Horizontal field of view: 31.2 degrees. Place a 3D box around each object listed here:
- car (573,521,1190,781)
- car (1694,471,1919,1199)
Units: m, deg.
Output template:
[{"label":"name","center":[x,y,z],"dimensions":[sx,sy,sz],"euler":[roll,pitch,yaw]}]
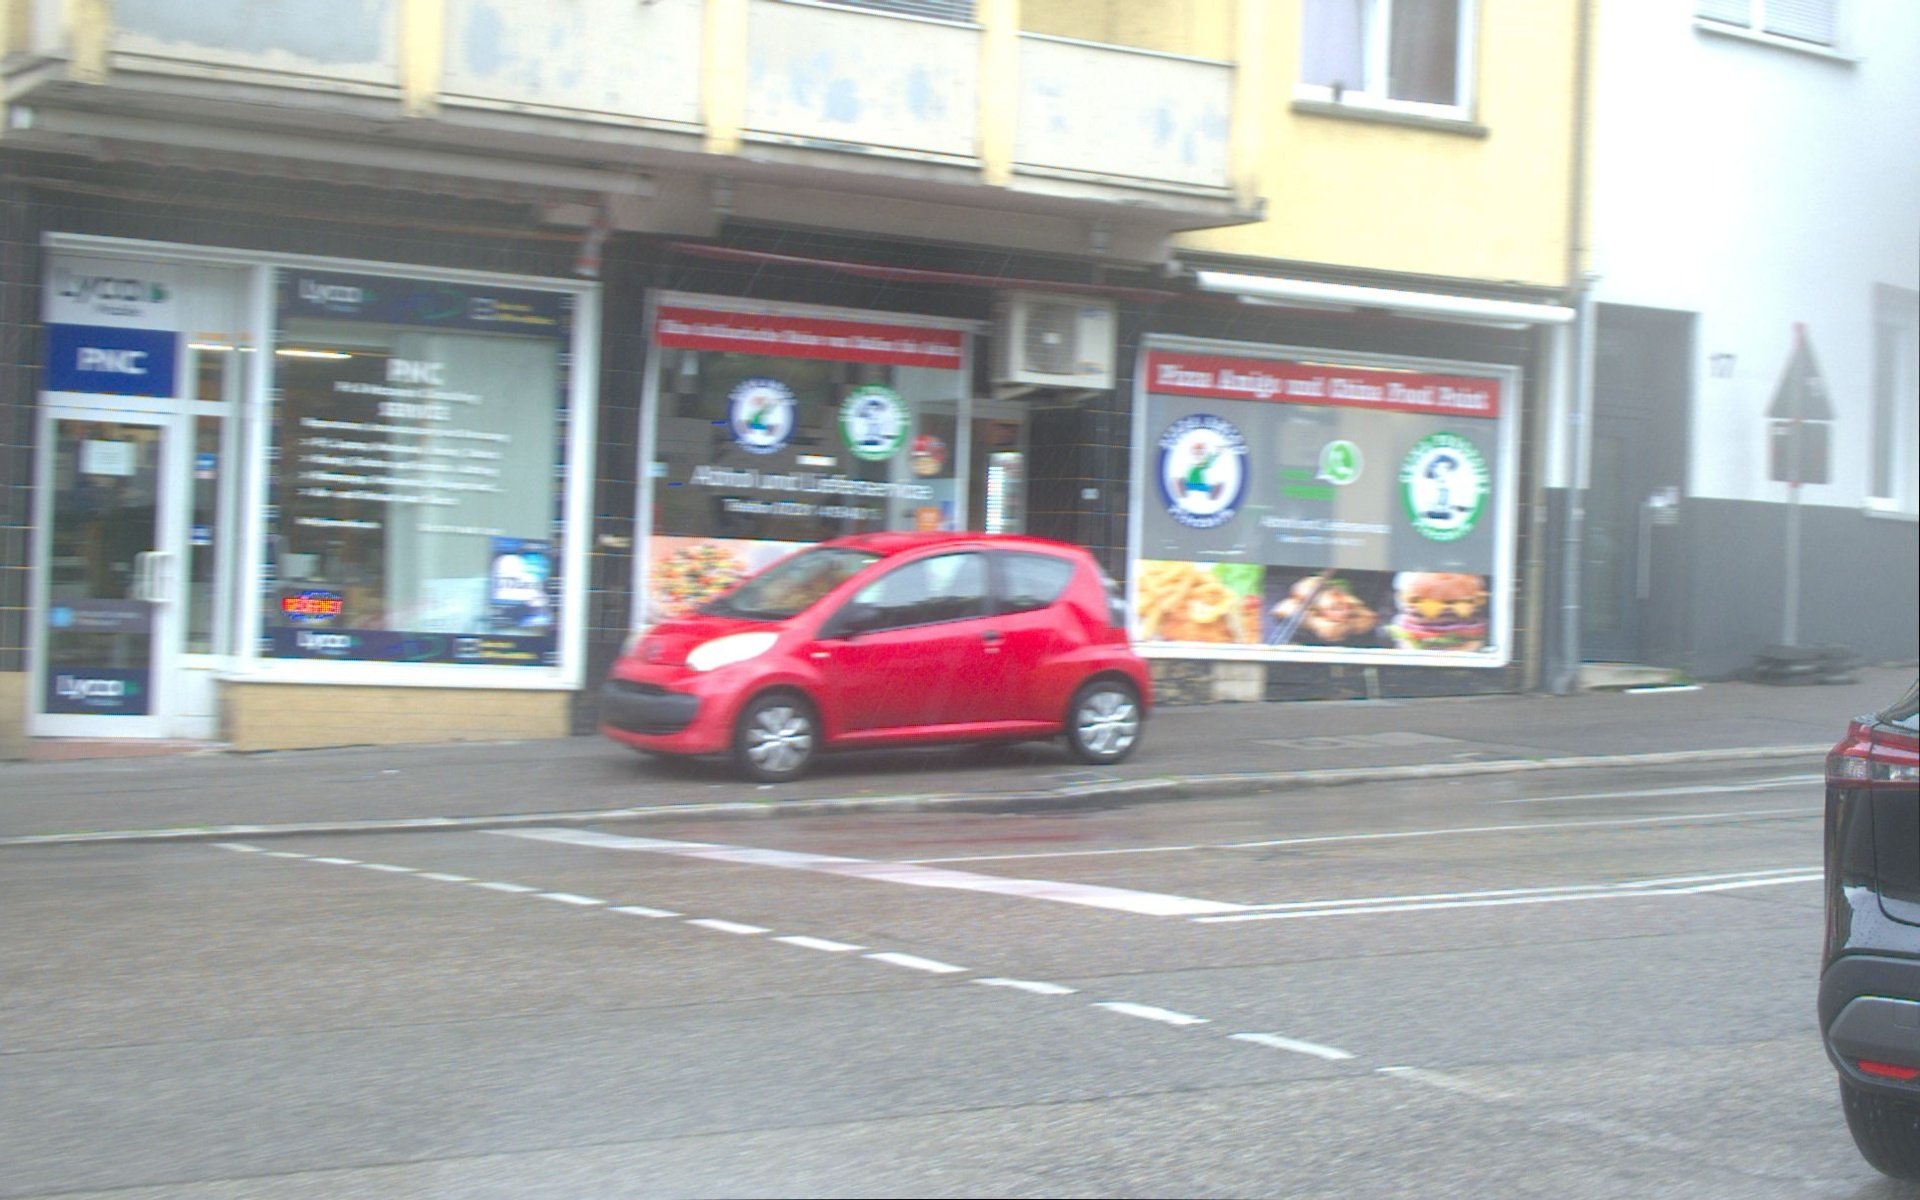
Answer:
[{"label":"car","center":[-0.482,0.267,21.708],"dimensions":[3.522,1.459,1.615],"euler":[-1,4,-30]},{"label":"car","center":[3.579,0.578,8.114],"dimensions":[1.886,1.588,3.911],"euler":[3,1,41]}]
